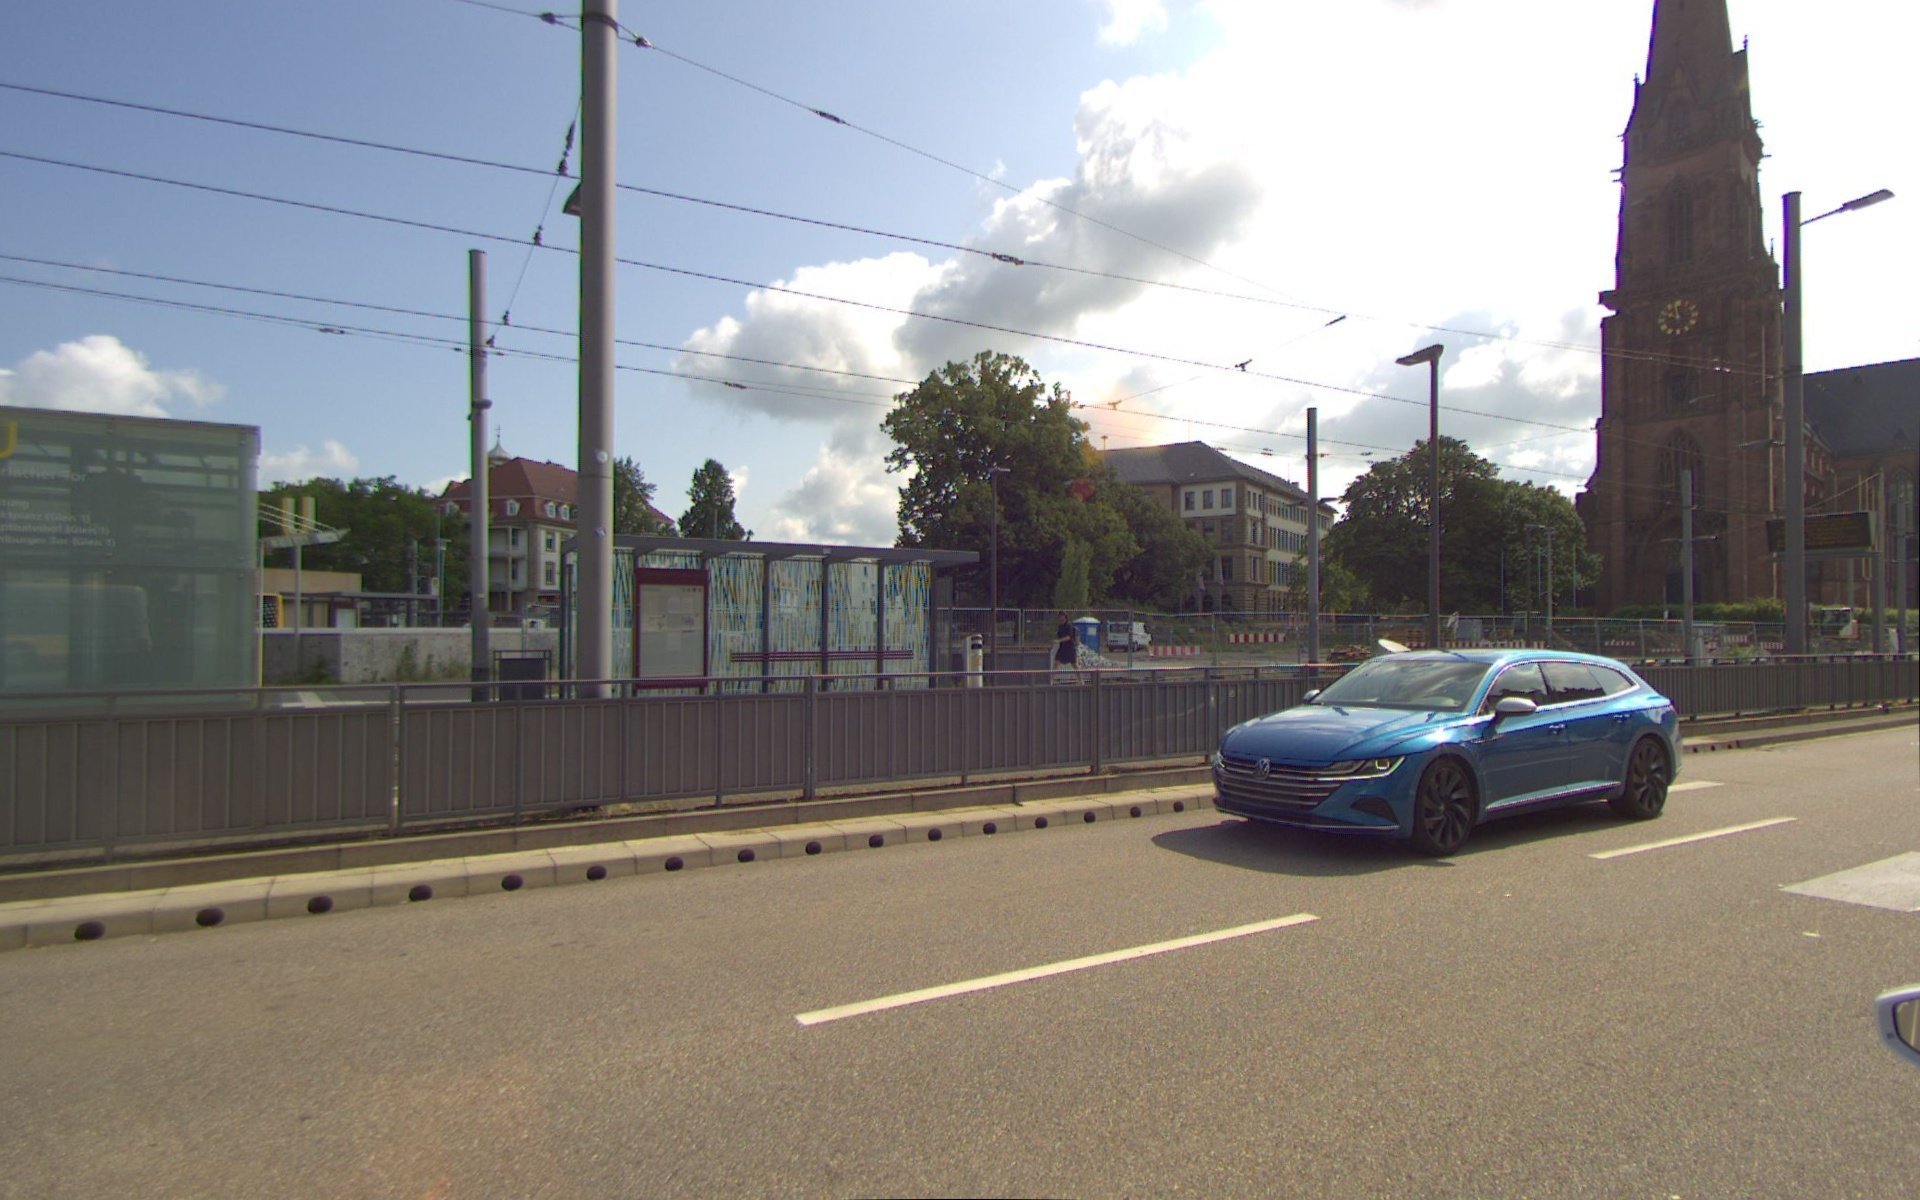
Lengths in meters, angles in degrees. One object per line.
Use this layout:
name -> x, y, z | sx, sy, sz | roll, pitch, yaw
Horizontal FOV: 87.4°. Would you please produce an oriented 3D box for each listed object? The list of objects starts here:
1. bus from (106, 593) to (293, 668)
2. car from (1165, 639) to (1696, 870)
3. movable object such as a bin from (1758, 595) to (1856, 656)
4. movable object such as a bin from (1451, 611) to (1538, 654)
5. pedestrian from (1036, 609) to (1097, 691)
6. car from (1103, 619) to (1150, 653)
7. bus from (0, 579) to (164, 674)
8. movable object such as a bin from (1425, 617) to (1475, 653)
bus -> -28.504, 1.143, 37.911 | 2.647, 2.621, 5.081 | 0, -2, 13
car -> 4.066, 1.093, 8.506 | 4.501, 1.474, 1.841 | 1, -3, -30
movable object such as a bin -> 55.049, 1.675, 65.260 | 5.513, 3.780, 2.660 | 1, -1, -23
movable object such as a bin -> 35.926, 2.171, 67.623 | 1.976, 2.839, 4.882 | 1, -2, -29
pedestrian -> 2.475, 1.133, 23.413 | 1.032, 1.824, 0.995 | -1, 1, -24
car -> 11.291, 2.456, 67.873 | 1.963, 2.039, 3.997 | 1, -3, 27
bus -> -29.978, 0.853, 31.980 | 2.646, 2.871, 7.105 | 0, -2, 14
movable object such as a bin -> 30.952, 2.190, 63.369 | 1.969, 2.235, 4.254 | -1, -2, 39
